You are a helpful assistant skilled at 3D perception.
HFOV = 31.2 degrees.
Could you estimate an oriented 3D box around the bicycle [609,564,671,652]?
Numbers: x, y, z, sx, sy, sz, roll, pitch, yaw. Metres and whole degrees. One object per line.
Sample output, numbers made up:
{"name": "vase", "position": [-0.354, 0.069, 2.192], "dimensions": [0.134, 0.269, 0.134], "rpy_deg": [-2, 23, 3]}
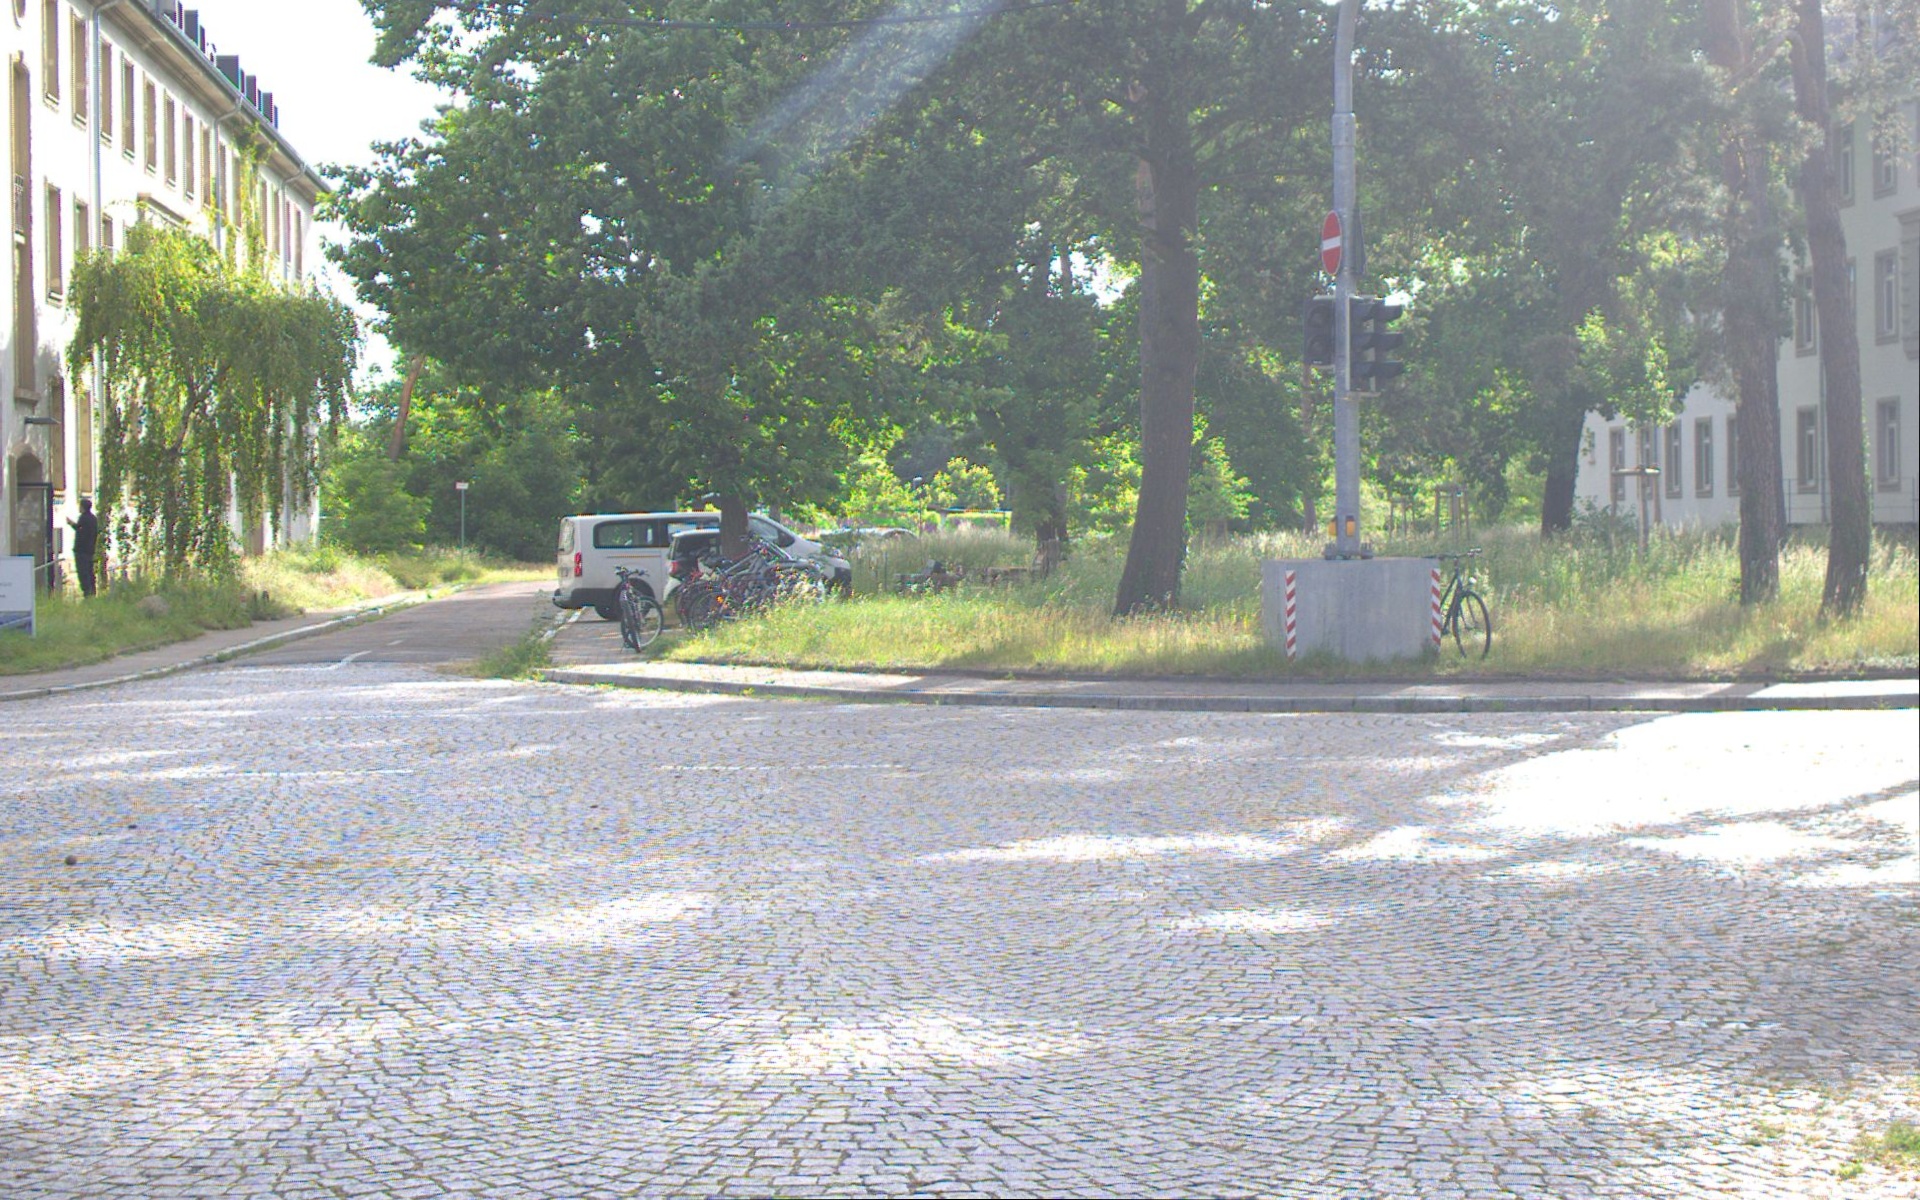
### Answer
{"name": "bicycle", "position": [-3.922, 0.084, 42.190], "dimensions": [0.728, 0.995, 1.799], "rpy_deg": [-1, 2, -5]}

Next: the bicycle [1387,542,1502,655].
{"name": "bicycle", "position": [4.532, -0.028, 32.255], "dimensions": [0.562, 0.995, 1.753], "rpy_deg": [-1, 2, -9]}

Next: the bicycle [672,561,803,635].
{"name": "bicycle", "position": [-3.134, -0.031, 48.386], "dimensions": [1.792, 0.995, 0.644], "rpy_deg": [-1, 2, -6]}

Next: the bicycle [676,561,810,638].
{"name": "bicycle", "position": [-2.966, -0.013, 46.894], "dimensions": [1.792, 0.995, 0.644], "rpy_deg": [-1, 2, -6]}

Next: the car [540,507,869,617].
{"name": "car", "position": [-4.600, -0.689, 61.720], "dimensions": [5.499, 1.909, 2.255], "rpy_deg": [-1, 1, -18]}

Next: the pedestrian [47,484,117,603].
{"name": "pedestrian", "position": [-14.632, -0.934, 57.302], "dimensions": [0.985, 1.956, 0.933], "rpy_deg": [0, 0, -5]}

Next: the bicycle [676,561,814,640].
{"name": "bicycle", "position": [-2.873, -0.002, 45.878], "dimensions": [1.792, 0.995, 0.644], "rpy_deg": [-1, 2, -6]}

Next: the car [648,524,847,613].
{"name": "car", "position": [-3.615, -0.526, 58.224], "dimensions": [3.031, 1.460, 1.720], "rpy_deg": [-1, 0, -17]}
